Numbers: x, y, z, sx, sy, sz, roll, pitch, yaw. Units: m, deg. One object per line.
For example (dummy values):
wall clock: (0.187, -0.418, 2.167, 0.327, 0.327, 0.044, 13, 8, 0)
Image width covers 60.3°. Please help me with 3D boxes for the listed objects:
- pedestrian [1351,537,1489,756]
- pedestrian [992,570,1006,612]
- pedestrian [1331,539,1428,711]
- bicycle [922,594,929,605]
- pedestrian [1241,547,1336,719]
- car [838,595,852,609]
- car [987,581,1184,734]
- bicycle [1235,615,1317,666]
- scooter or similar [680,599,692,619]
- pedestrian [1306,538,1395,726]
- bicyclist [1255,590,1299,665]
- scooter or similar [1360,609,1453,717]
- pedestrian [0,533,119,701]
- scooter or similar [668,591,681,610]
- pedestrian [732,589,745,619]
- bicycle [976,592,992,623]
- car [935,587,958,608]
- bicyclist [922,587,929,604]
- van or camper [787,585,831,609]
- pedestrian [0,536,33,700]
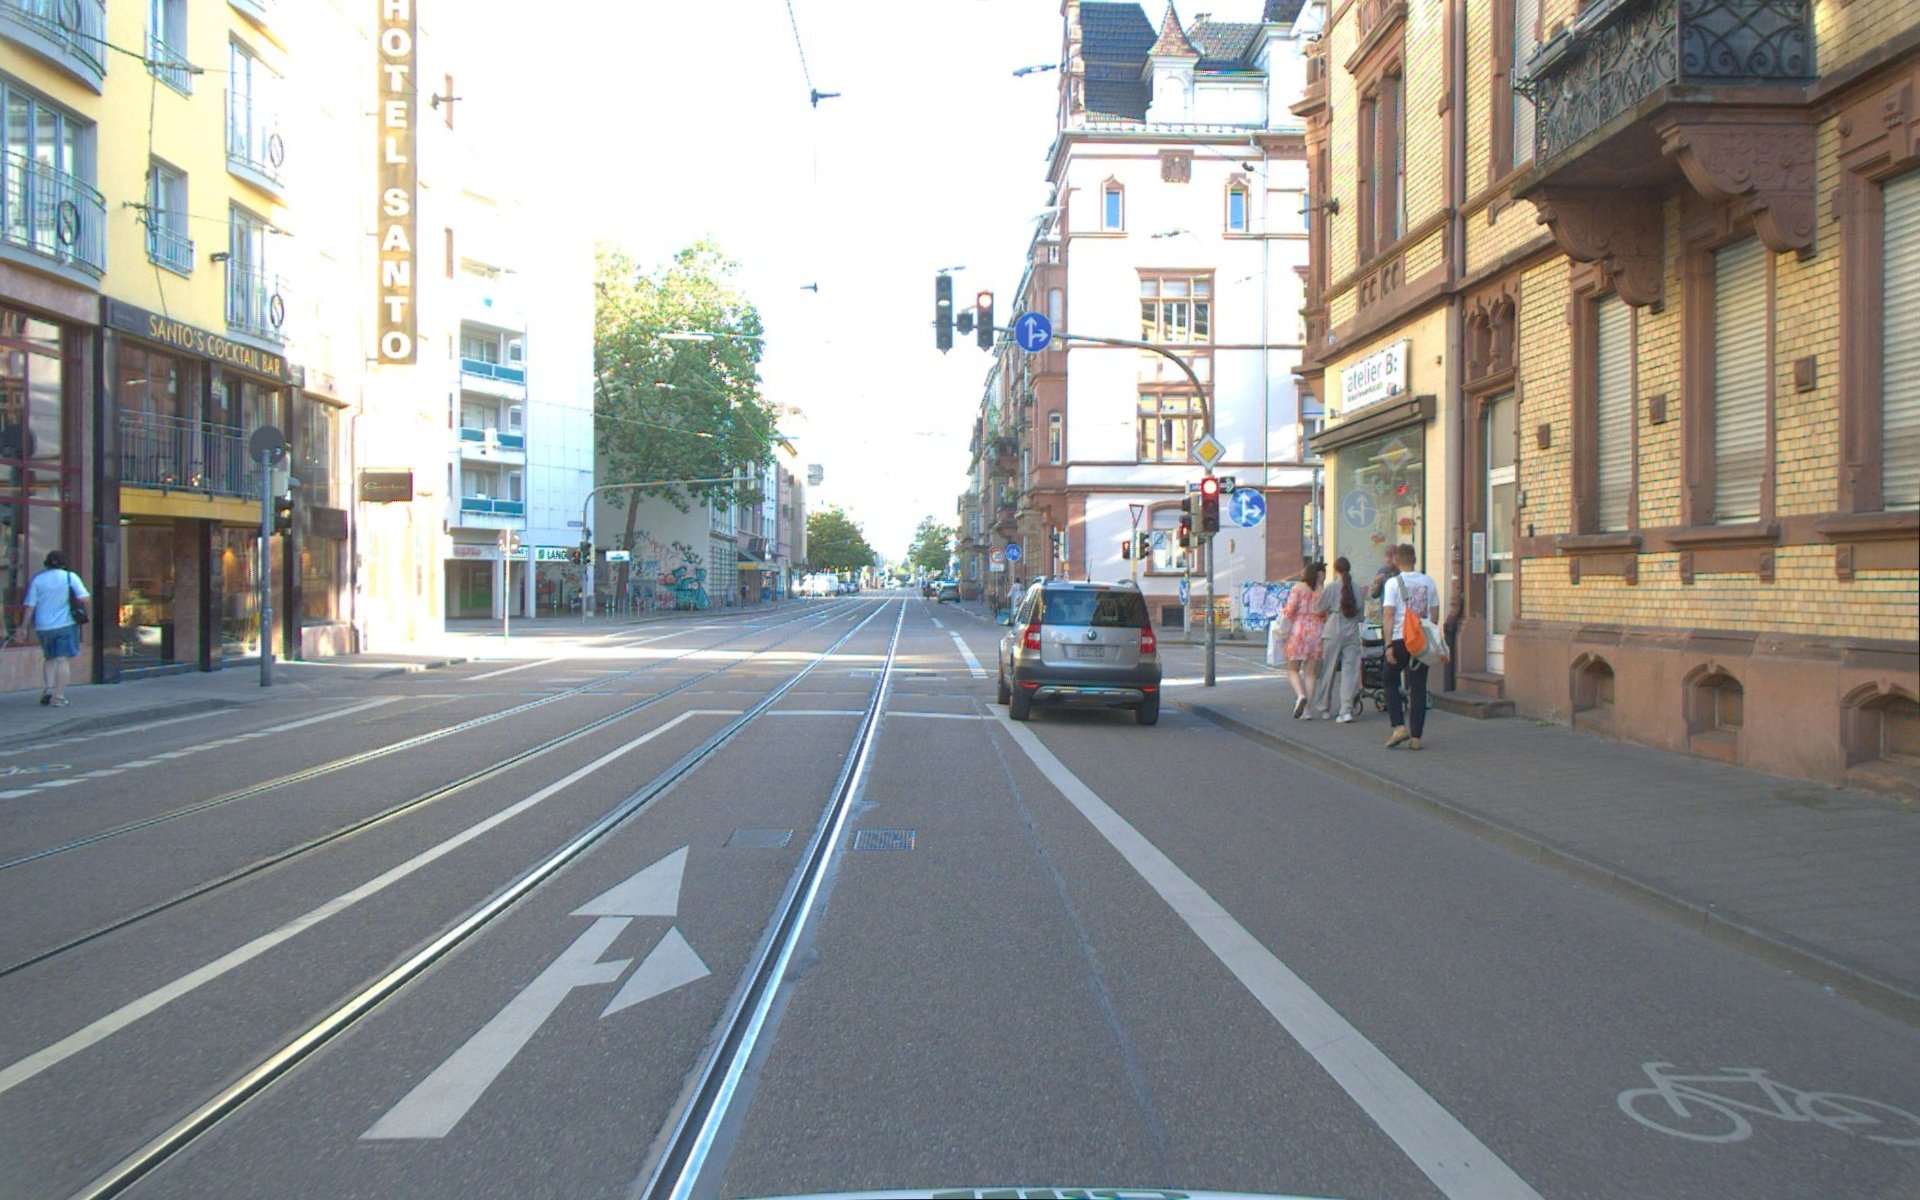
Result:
pedestrian: (4.073, 0.389, 14.721, 0.789, 1.831, 1.091, -3, 1, -3)
pedestrian: (1.716, -0.403, 72.782, 0.533, 1.811, 0.504, 1, 0, -1)
pedestrian: (4.654, 0.266, 18.381, 0.789, 1.831, 0.761, -3, 1, -2)
bicycle: (-3.303, -0.062, 158.616, 0.563, 1.048, 1.894, 1, 0, -1)
pedestrian: (3.640, 0.352, 18.399, 0.789, 1.831, 0.761, -3, 1, -4)
car: (-17.557, 0.260, 252.427, 1.954, 2.049, 3.998, 1, 0, -3)
car: (1.456, 0.640, 20.685, 1.954, 1.646, 3.998, 3, 0, -2)
bicycle: (7.180, 0.921, 37.594, 1.684, 1.052, 0.597, 2, -1, 34)
scooter or similar: (-15.282, 0.486, 92.395, 0.506, 1.076, 1.477, 1, 0, -4)
pedestrian: (4.171, 0.332, 17.693, 0.677, 1.942, 0.670, -3, 1, -4)
bicyclist: (7.221, 0.624, 37.630, 0.727, 1.662, 0.606, 2, -2, 35)
scooter or similar: (4.775, 0.669, 17.726, 0.789, 1.089, 0.521, -3, 0, -2)
pedestrian: (-10.531, 0.187, 19.313, 0.737, 1.850, 1.045, 5, 0, -2)
scooter or similar: (-15.943, 0.023, 92.335, 0.506, 1.064, 1.477, 1, 0, -4)
pedestrian: (-13.382, 0.237, 99.845, 0.687, 1.759, 0.647, 1, 0, -2)
bicycle: (1.051, 0.328, 72.444, 0.640, 1.347, 2.177, 1, 0, 0)
car: (-1.181, -0.236, 141.759, 1.910, 1.713, 3.999, 1, 0, -1)
bicyclist: (-3.298, -0.460, 158.612, 0.563, 1.581, 0.595, 1, 0, -1)
van or camper: (-17.452, -0.302, 191.106, 4.592, 2.608, 1.977, 2, -1, -33)
pedestrian: (-10.959, 0.175, 18.340, 0.782, 1.801, 0.749, 5, 0, -2)
